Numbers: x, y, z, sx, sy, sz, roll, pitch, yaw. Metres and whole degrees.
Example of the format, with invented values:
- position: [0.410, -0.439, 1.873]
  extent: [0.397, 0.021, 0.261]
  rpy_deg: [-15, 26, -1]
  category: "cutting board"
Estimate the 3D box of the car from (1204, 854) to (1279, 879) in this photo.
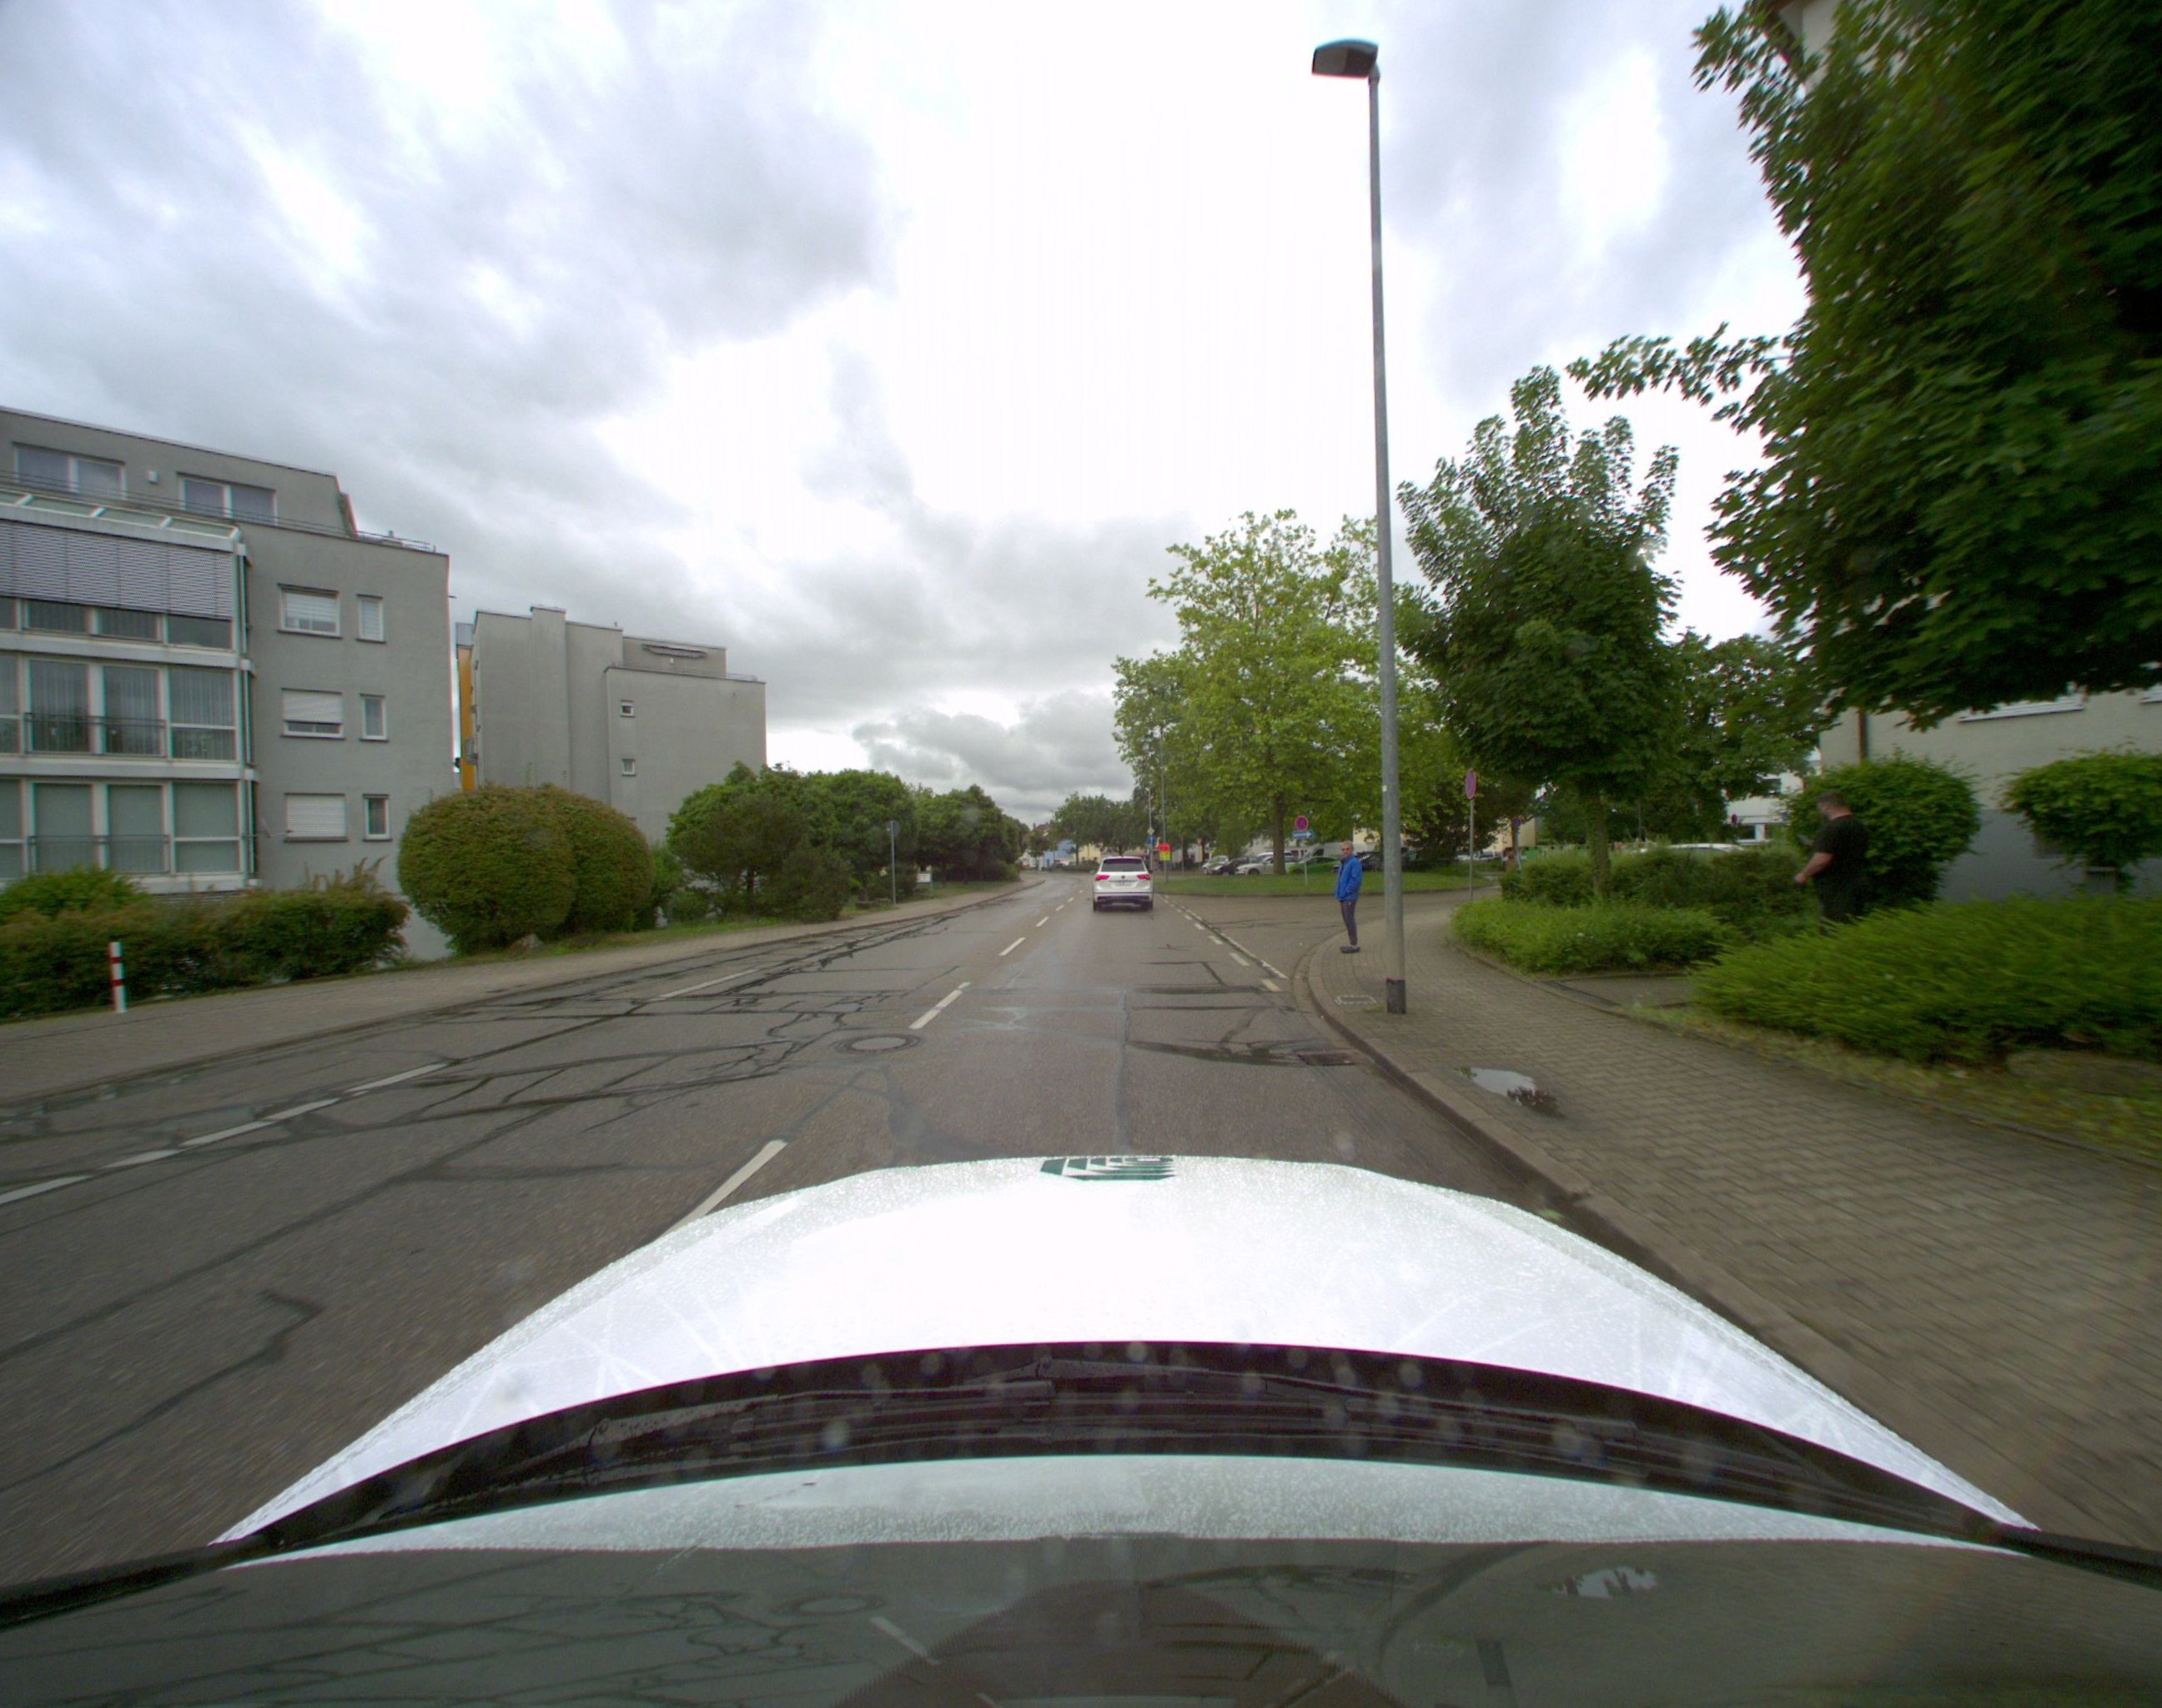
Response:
- position: [10.531, 0.816, 53.608]
  extent: [4.563, 1.443, 1.762]
  rpy_deg: [-2, -1, -4]
  category: "car"

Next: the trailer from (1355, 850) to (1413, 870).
- position: [23.991, 0.455, 64.607]
  extent: [3.971, 1.437, 1.713]
  rpy_deg: [-2, -1, 2]
  category: "trailer"

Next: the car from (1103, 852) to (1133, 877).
- position: [2.454, 0.701, 54.923]
  extent: [1.764, 1.551, 3.998]
  rpy_deg: [-2, -1, -1]
  category: "car"

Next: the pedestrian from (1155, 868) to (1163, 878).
- position: [8.151, 2.025, 85.474]
  extent: [0.748, 1.011, 0.550]
  rpy_deg: [-2, -1, -7]
  category: "pedestrian"

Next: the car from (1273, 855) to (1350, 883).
- position: [13.643, 0.864, 48.254]
  extent: [4.001, 1.443, 1.762]
  rpy_deg: [-2, -1, -4]
  category: "car"

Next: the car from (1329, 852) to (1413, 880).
- position: [15.946, 0.643, 44.899]
  extent: [4.001, 1.371, 1.762]
  rpy_deg: [-2, 0, -4]
  category: "car"

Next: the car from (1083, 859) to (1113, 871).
- position: [2.582, 1.608, 124.324]
  extent: [4.208, 1.671, 1.971]
  rpy_deg: [-2, -1, -32]
  category: "car"

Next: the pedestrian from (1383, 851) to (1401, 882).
- position: [16.691, 0.664, 43.698]
  extent: [0.734, 1.652, 0.588]
  rpy_deg: [-2, -1, 5]
  category: "pedestrian"

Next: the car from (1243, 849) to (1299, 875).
- position: [14.696, 0.625, 63.184]
  extent: [2.005, 1.881, 4.173]
  rpy_deg: [-1, -1, -28]
  category: "car"

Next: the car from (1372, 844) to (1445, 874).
- position: [25.118, 0.373, 62.485]
  extent: [4.742, 2.013, 1.997]
  rpy_deg: [-2, -1, -5]
  category: "car"

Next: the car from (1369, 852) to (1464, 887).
- position: [17.301, 0.799, 42.184]
  extent: [4.251, 1.626, 1.770]
  rpy_deg: [-3, -1, 12]
  category: "car"

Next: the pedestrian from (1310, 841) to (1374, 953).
- position: [4.010, 0.641, 12.535]
  extent: [0.590, 1.666, 0.772]
  rpy_deg: [-1, -1, -14]
  category: "pedestrian"

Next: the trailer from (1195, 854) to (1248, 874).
- position: [11.754, 0.827, 68.322]
  extent: [2.007, 1.543, 4.381]
  rpy_deg: [-2, -1, -32]
  category: "trailer"

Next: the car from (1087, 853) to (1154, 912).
- position: [1.246, 0.831, 25.721]
  extent: [1.857, 1.651, 4.003]
  rpy_deg: [-2, 0, 3]
  category: "car"

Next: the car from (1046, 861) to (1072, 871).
- position: [-3.535, 1.963, 133.413]
  extent: [4.018, 1.387, 1.656]
  rpy_deg: [-1, -1, -37]
  category: "car"

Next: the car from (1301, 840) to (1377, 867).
- position: [22.042, -0.036, 69.603]
  extent: [5.818, 2.013, 1.994]
  rpy_deg: [-2, -1, -9]
  category: "car"

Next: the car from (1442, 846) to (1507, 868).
- position: [28.941, 0.252, 59.983]
  extent: [3.994, 1.530, 1.990]
  rpy_deg: [-1, -1, -15]
  category: "car"

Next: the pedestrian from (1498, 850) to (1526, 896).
- position: [15.270, 0.664, 28.827]
  extent: [0.728, 1.583, 0.956]
  rpy_deg: [-2, -1, 34]
  category: "pedestrian"

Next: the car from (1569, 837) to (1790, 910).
- position: [13.776, 0.448, 18.942]
  extent: [1.754, 1.480, 3.728]
  rpy_deg: [-2, 0, -34]
  category: "car"

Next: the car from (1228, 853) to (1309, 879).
- position: [11.706, 0.744, 51.036]
  extent: [4.563, 1.443, 1.762]
  rpy_deg: [-2, -1, -4]
  category: "car"

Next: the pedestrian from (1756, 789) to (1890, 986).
- position: [7.029, 0.305, 7.741]
  extent: [0.612, 1.773, 0.670]
  rpy_deg: [-1, -1, -3]
  category: "pedestrian"
